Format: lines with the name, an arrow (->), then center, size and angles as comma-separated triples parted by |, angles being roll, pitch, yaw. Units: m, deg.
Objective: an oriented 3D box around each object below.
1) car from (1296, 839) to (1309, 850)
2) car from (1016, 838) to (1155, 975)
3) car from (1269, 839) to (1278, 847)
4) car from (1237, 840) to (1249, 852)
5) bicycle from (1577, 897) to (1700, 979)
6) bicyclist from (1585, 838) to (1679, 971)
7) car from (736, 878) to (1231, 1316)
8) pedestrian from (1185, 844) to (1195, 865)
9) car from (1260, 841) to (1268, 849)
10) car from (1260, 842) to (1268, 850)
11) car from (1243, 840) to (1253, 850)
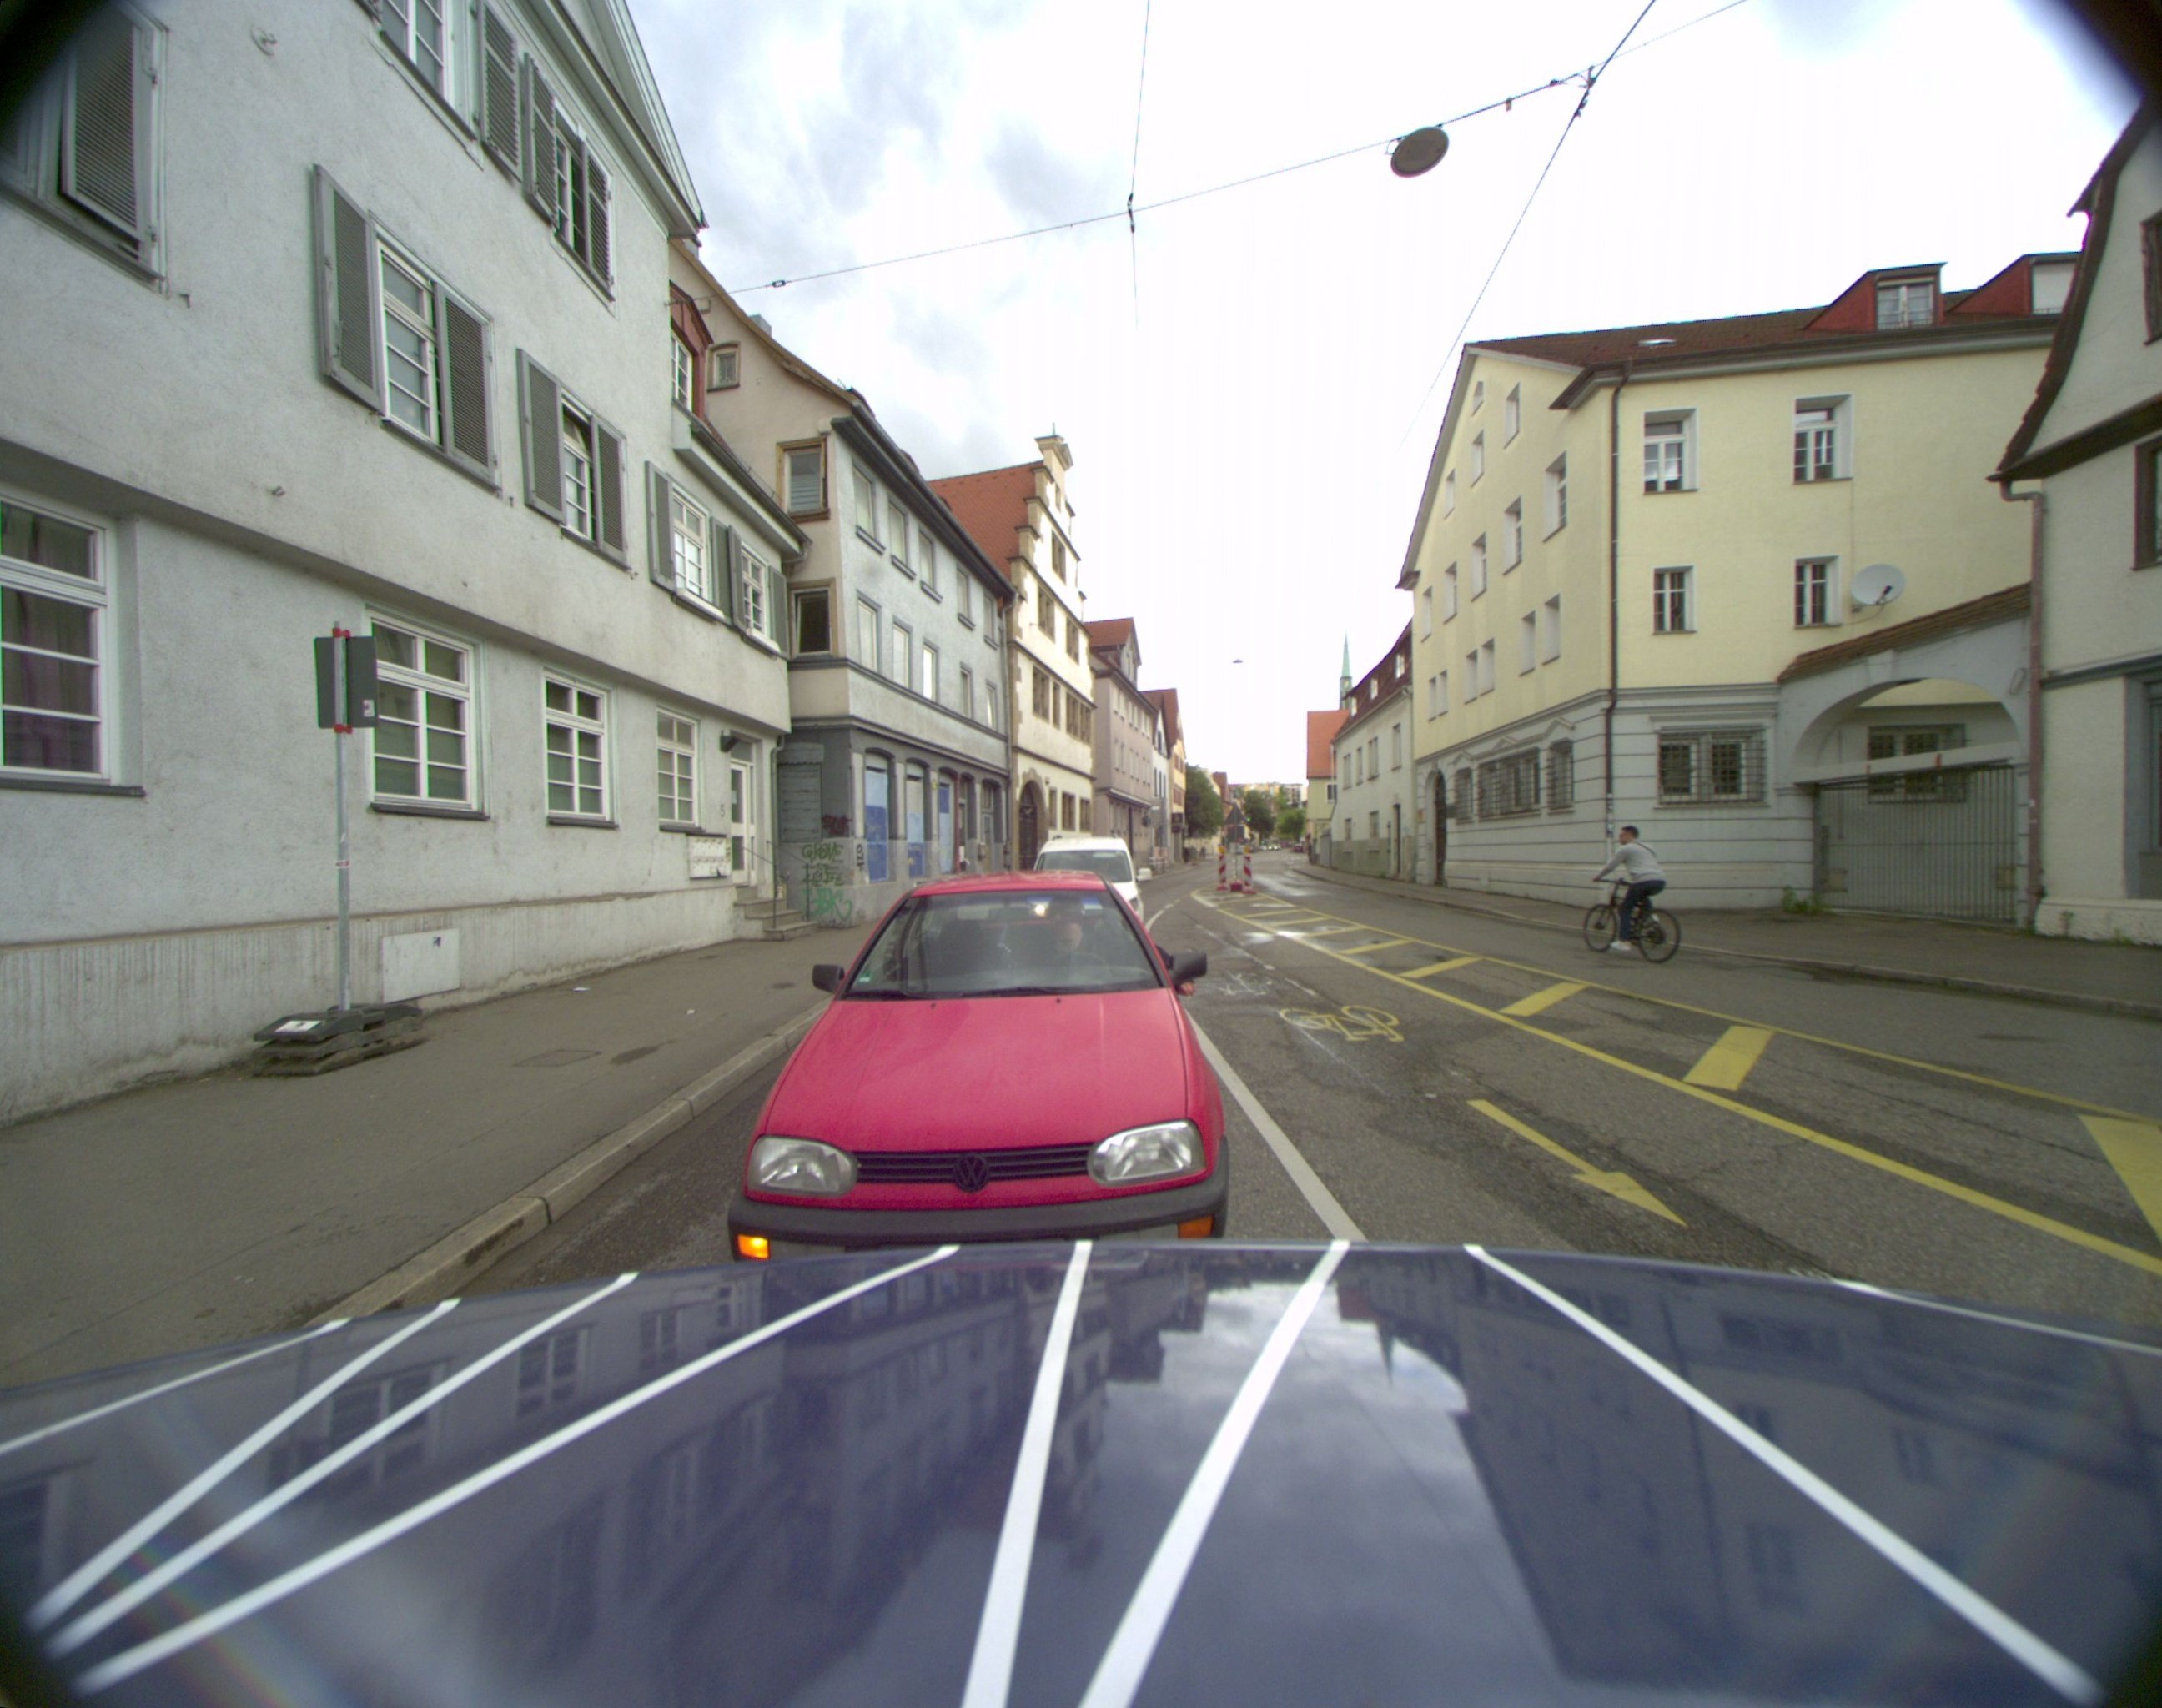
car -> 42.748, -1.769, 146.575 | 2.057, 2.002, 4.004 | -1, 0, 13
car -> 0.091, 0.702, 12.226 | 1.804, 1.781, 4.349 | -1, 0, 1
car -> 47.252, -2.688, 186.072 | 1.996, 2.002, 4.004 | -1, 0, 13
car -> 28.474, -1.335, 133.497 | 1.996, 2.002, 4.004 | -1, 0, 13
bicycle -> 7.345, 1.070, 10.113 | 0.542, 0.887, 1.882 | -1, 0, 10
bicyclist -> 7.320, 0.648, 10.131 | 0.724, 1.691, 0.811 | -1, 0, 11
car -> -0.344, 0.993, 4.899 | 1.804, 1.458, 4.000 | -4, 0, 1
pedestrian -> 10.170, 0.036, 70.747 | 0.877, 1.888, 0.898 | -1, 0, 7
car -> 44.983, -2.147, 186.806 | 1.996, 2.002, 4.004 | -1, 0, 13
car -> 48.488, -2.097, 201.197 | 1.996, 2.002, 4.004 | -1, 0, 13
car -> 33.946, -1.746, 154.285 | 1.996, 2.002, 4.004 | -1, 0, 13
